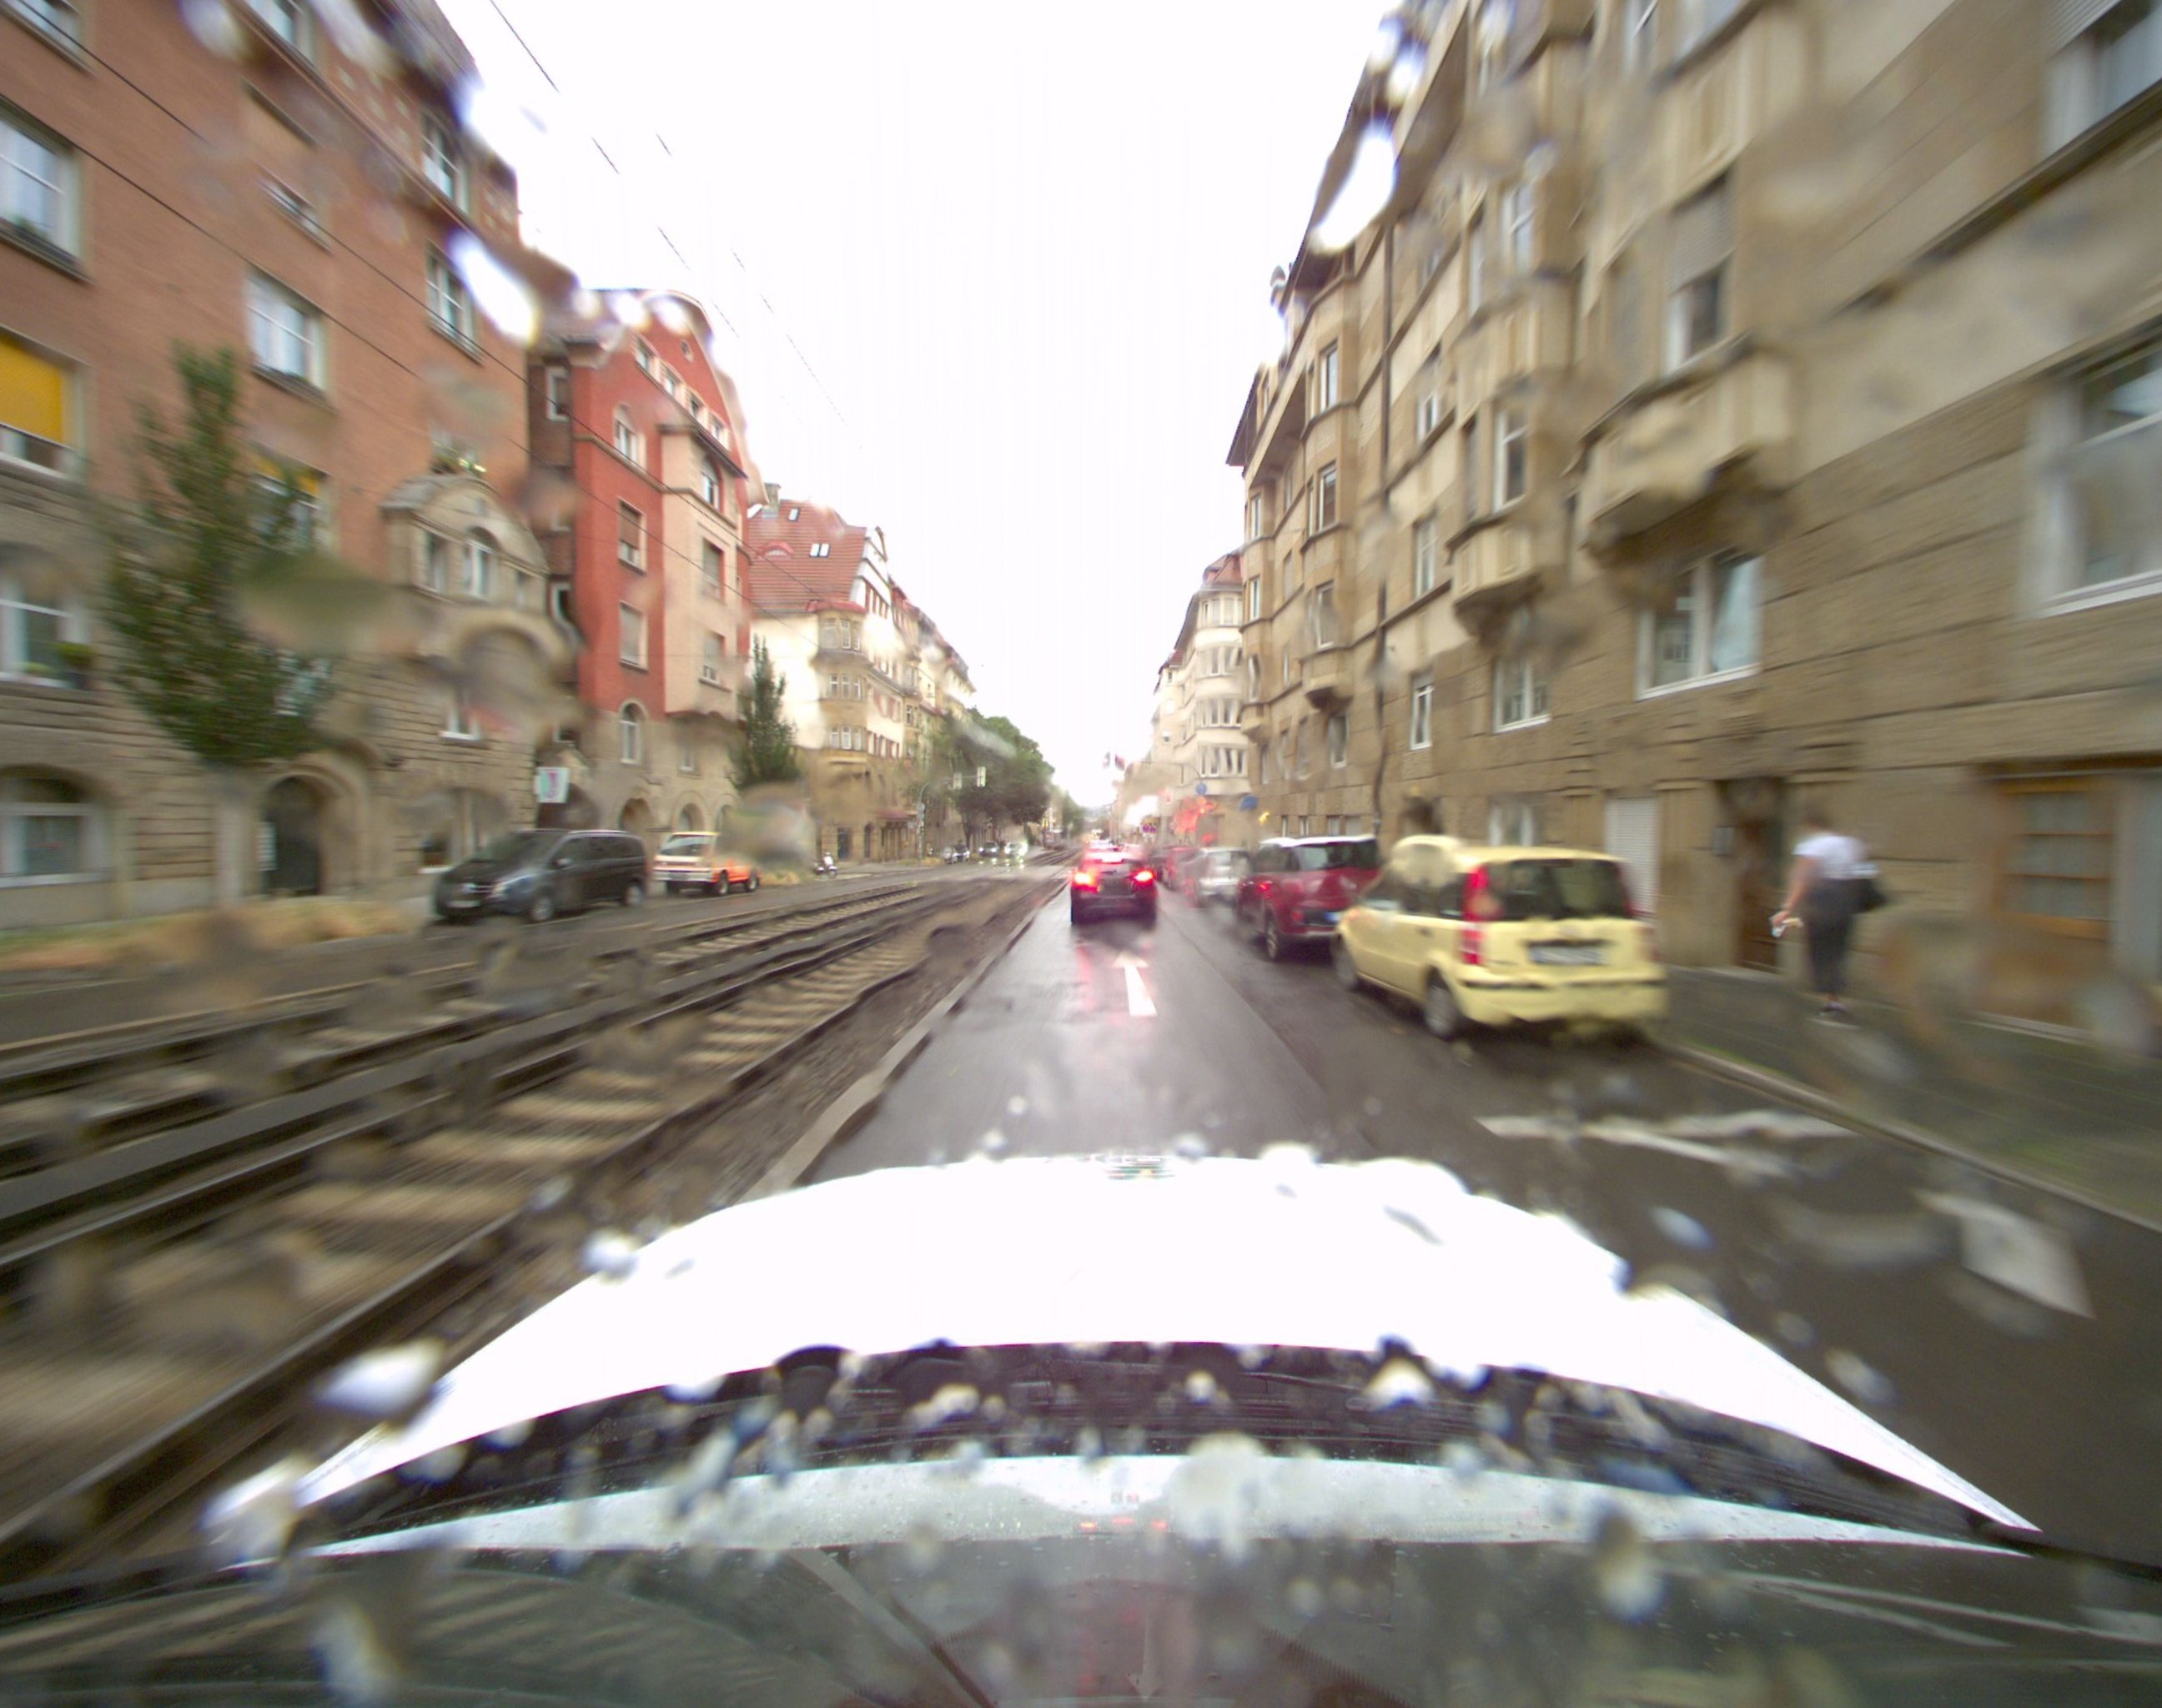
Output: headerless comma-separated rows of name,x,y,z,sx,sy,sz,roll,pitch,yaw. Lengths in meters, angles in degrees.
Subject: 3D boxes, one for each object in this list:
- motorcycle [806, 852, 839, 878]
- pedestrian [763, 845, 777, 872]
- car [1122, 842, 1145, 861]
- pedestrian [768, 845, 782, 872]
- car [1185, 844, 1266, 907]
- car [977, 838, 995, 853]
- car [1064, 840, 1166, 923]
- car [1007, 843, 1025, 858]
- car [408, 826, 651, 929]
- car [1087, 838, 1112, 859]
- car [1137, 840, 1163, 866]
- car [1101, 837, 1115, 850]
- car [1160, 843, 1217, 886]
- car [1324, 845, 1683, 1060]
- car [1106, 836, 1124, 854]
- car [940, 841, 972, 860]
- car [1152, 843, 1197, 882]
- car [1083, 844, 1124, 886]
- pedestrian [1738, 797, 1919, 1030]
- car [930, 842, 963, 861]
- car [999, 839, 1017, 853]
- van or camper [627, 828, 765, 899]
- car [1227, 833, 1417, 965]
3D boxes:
motorcycle,-11.485,0.467,36.144,1.423,1.134,0.624,0,0,31
pedestrian,-19.602,0.285,51.311,0.605,1.733,0.643,0,0,2
car,4.974,-0.242,77.575,1.764,1.776,3.996,-1,0,-2
pedestrian,-19.578,0.282,52.134,0.605,1.733,0.643,0,0,2
car,3.731,0.501,21.497,1.632,1.542,3.467,0,1,2
car,-10.496,-0.951,90.495,1.786,1.691,3.994,0,1,-4
car,0.664,0.529,17.522,1.939,1.564,3.642,-1,0,0
car,-6.981,-0.407,87.612,1.791,1.548,3.997,-1,1,-2
car,-11.774,0.419,17.897,1.986,1.901,4.701,-2,1,2
car,1.557,-0.438,66.714,1.913,1.655,4.004,0,1,3
car,5.509,-0.077,65.456,1.891,2.028,4.178,-1,0,2
car,3.711,-1.493,113.836,1.902,1.705,4.002,0,1,2
car,3.759,0.347,28.881,1.597,1.419,3.148,0,1,0
car,3.455,0.668,7.402,1.553,1.478,3.462,0,1,2
car,3.684,-0.977,89.301,1.846,1.797,3.813,-1,0,2
car,-10.633,-0.312,69.725,1.986,1.517,4.002,0,1,2
car,3.868,0.295,34.067,1.543,1.508,4.002,0,1,2
car,0.909,0.374,32.265,1.530,1.510,4.002,0,1,2
pedestrian,5.803,0.442,6.362,0.859,1.733,0.609,0,0,1
car,-10.615,-0.193,64.401,1.765,1.464,4.002,-1,0,2
car,-9.648,-1.035,107.924,1.986,1.793,4.002,0,1,2
van or camper,-11.740,0.250,25.262,1.987,1.901,4.698,3,0,0
car,3.347,0.529,12.087,1.704,1.628,4.001,0,1,1
